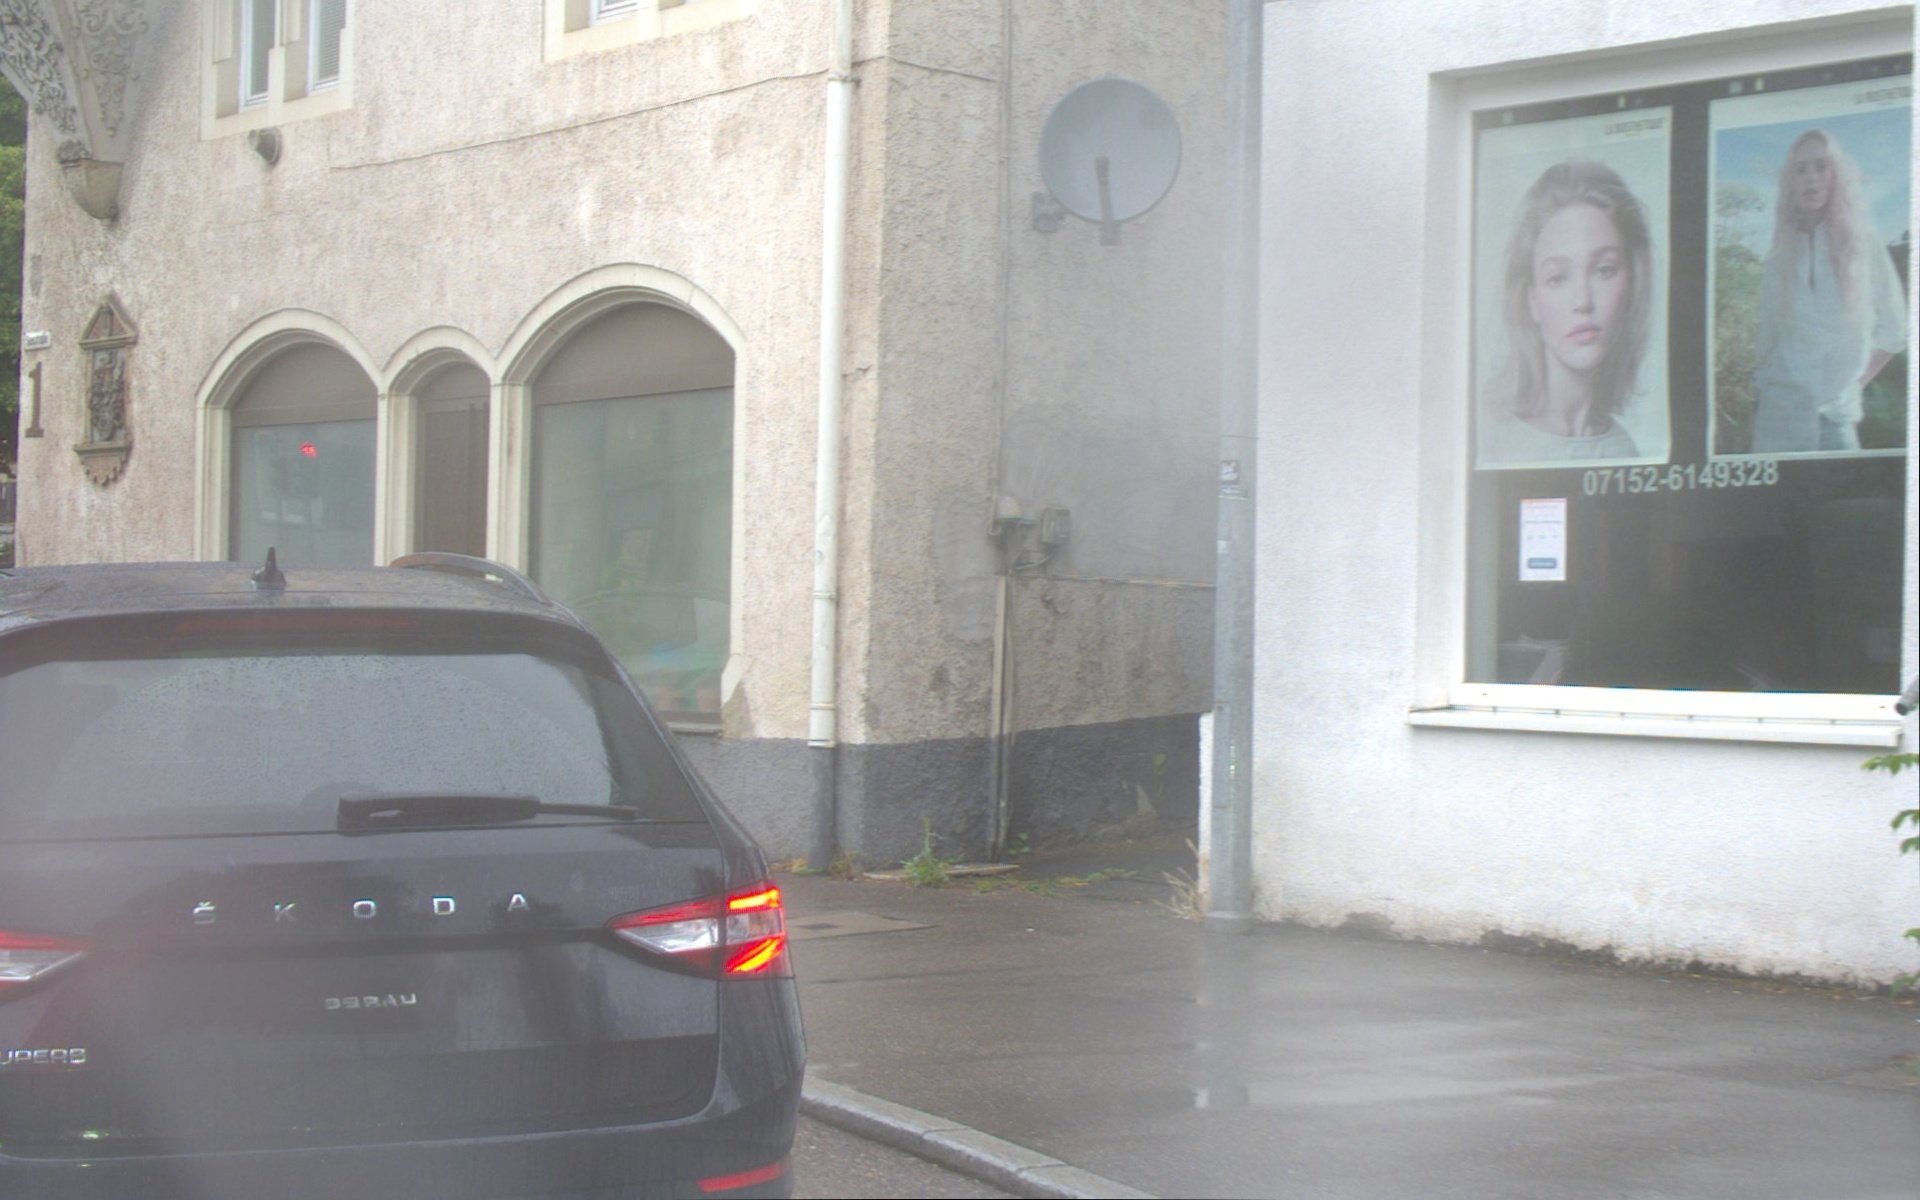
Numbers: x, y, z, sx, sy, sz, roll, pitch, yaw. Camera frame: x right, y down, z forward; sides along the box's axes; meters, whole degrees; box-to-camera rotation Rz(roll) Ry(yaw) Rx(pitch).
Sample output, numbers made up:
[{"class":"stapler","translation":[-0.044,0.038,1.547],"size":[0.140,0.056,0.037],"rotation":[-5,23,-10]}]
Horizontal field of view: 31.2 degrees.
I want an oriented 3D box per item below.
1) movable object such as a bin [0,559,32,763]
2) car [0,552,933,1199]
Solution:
[{"class":"movable object such as a bin","translation":[-7.108,0.428,24.857],"size":[0.643,1.437,0.412],"rotation":[5,4,32]},{"class":"car","translation":[-1.672,0.625,7.217],"size":[1.886,1.443,4.358],"rotation":[0,1,-20]}]
